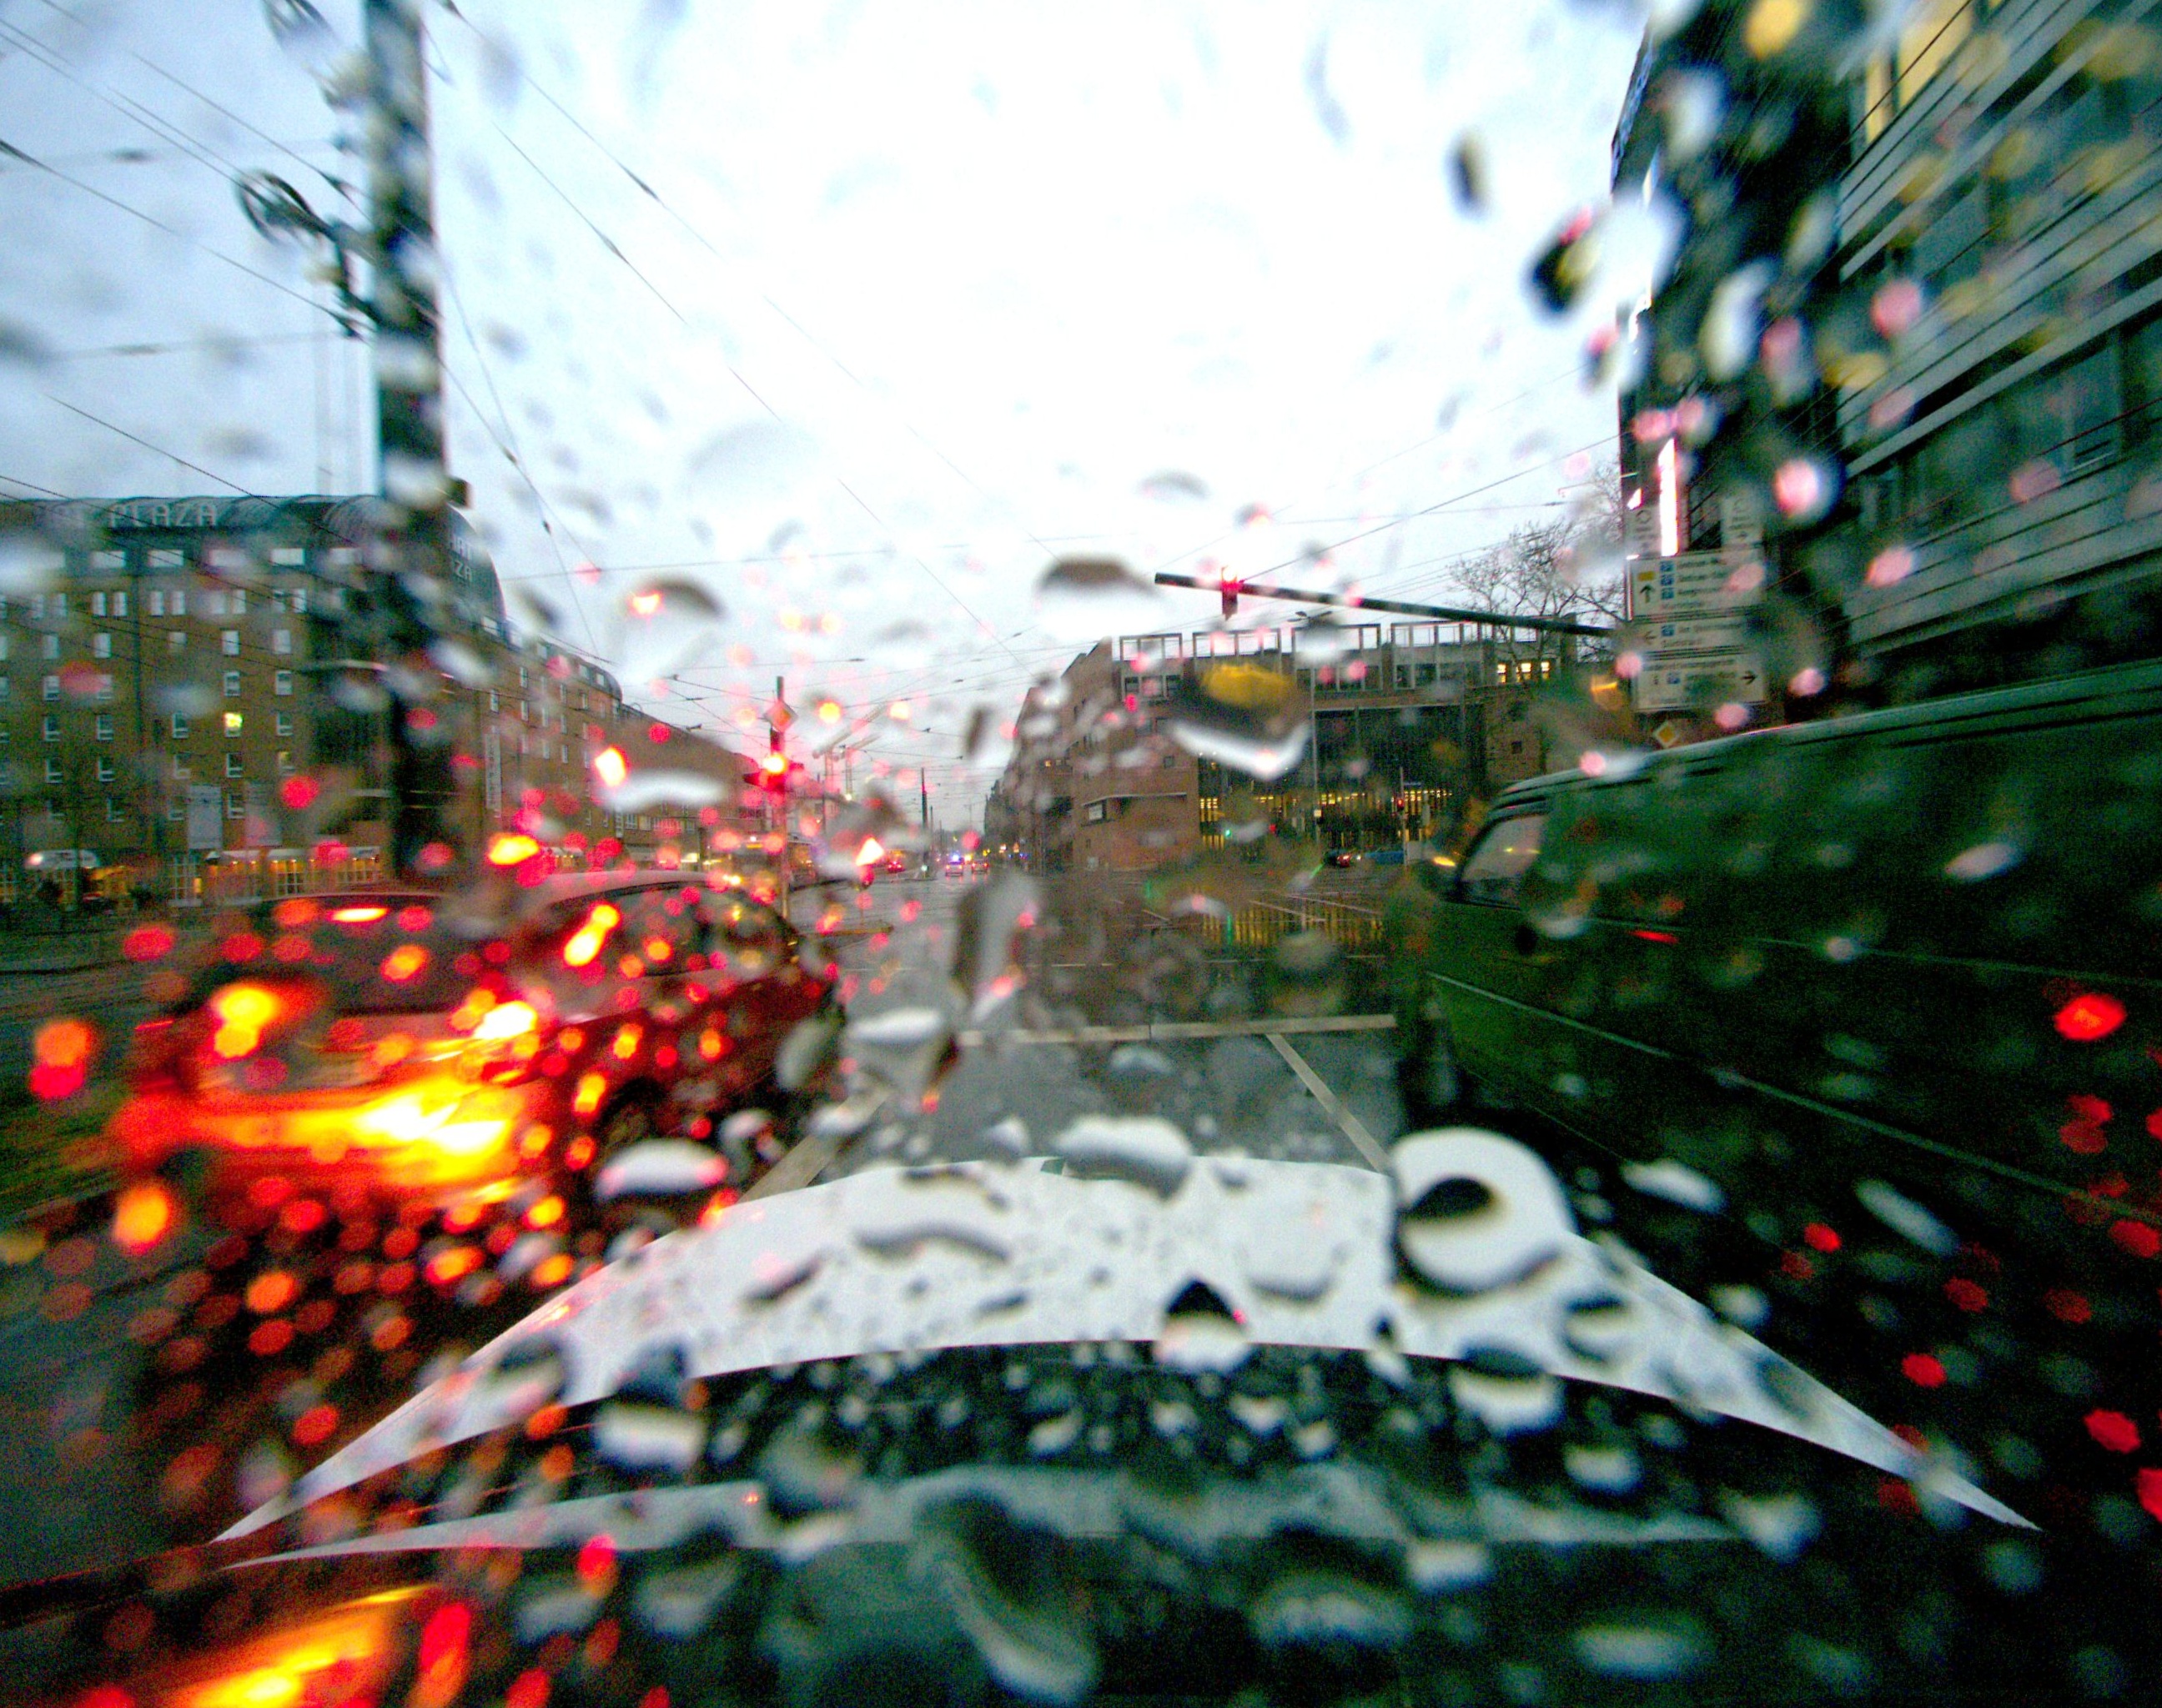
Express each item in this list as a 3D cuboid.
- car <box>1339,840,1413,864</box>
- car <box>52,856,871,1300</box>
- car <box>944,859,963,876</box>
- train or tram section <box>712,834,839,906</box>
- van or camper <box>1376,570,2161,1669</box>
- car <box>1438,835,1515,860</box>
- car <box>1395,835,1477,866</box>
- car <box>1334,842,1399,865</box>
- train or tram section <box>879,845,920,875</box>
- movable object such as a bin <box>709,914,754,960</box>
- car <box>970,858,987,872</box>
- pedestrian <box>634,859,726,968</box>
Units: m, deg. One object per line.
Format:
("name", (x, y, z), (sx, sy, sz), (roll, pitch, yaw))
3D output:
("car", (18.286, -0.148, 50.574), (3.979, 1.262, 1.845), (-2, 4, -4))
("car", (-2.631, 0.781, 4.686), (1.691, 1.459, 3.759), (-2, 0, 2))
("car", (-12.779, 1.341, 81.843), (1.869, 1.578, 3.989), (0, 0, -8))
("train or tram section", (-18.714, 0.877, 51.968), (2.862, 3.614, 20.019), (-2, 0, -7))
("van or camper", (2.797, 0.447, 3.233), (1.750, 1.906, 4.420), (-1, 0, 2))
("car", (24.791, -0.433, 51.149), (3.979, 1.288, 1.845), (-2, 4, -4))
("car", (20.419, -0.213, 46.949), (3.979, 1.504, 1.845), (-2, 4, -4))
("car", (19.105, -0.057, 54.646), (3.713, 1.262, 1.845), (-2, 4, -4))
("train or tram section", (-24.853, 0.816, 112.882), (3.189, 3.436, 27.752), (-2, 0, -8))
("movable object such as a bin", (-5.802, 1.374, 13.528), (0.407, 0.699, 0.541), (-5, -2, 42))
("car", (-11.719, 1.267, 93.660), (1.868, 1.578, 3.991), (0, 0, -6))
("pedestrian", (-6.344, 0.922, 12.906), (0.707, 1.601, 1.043), (-5, -1, 43))
